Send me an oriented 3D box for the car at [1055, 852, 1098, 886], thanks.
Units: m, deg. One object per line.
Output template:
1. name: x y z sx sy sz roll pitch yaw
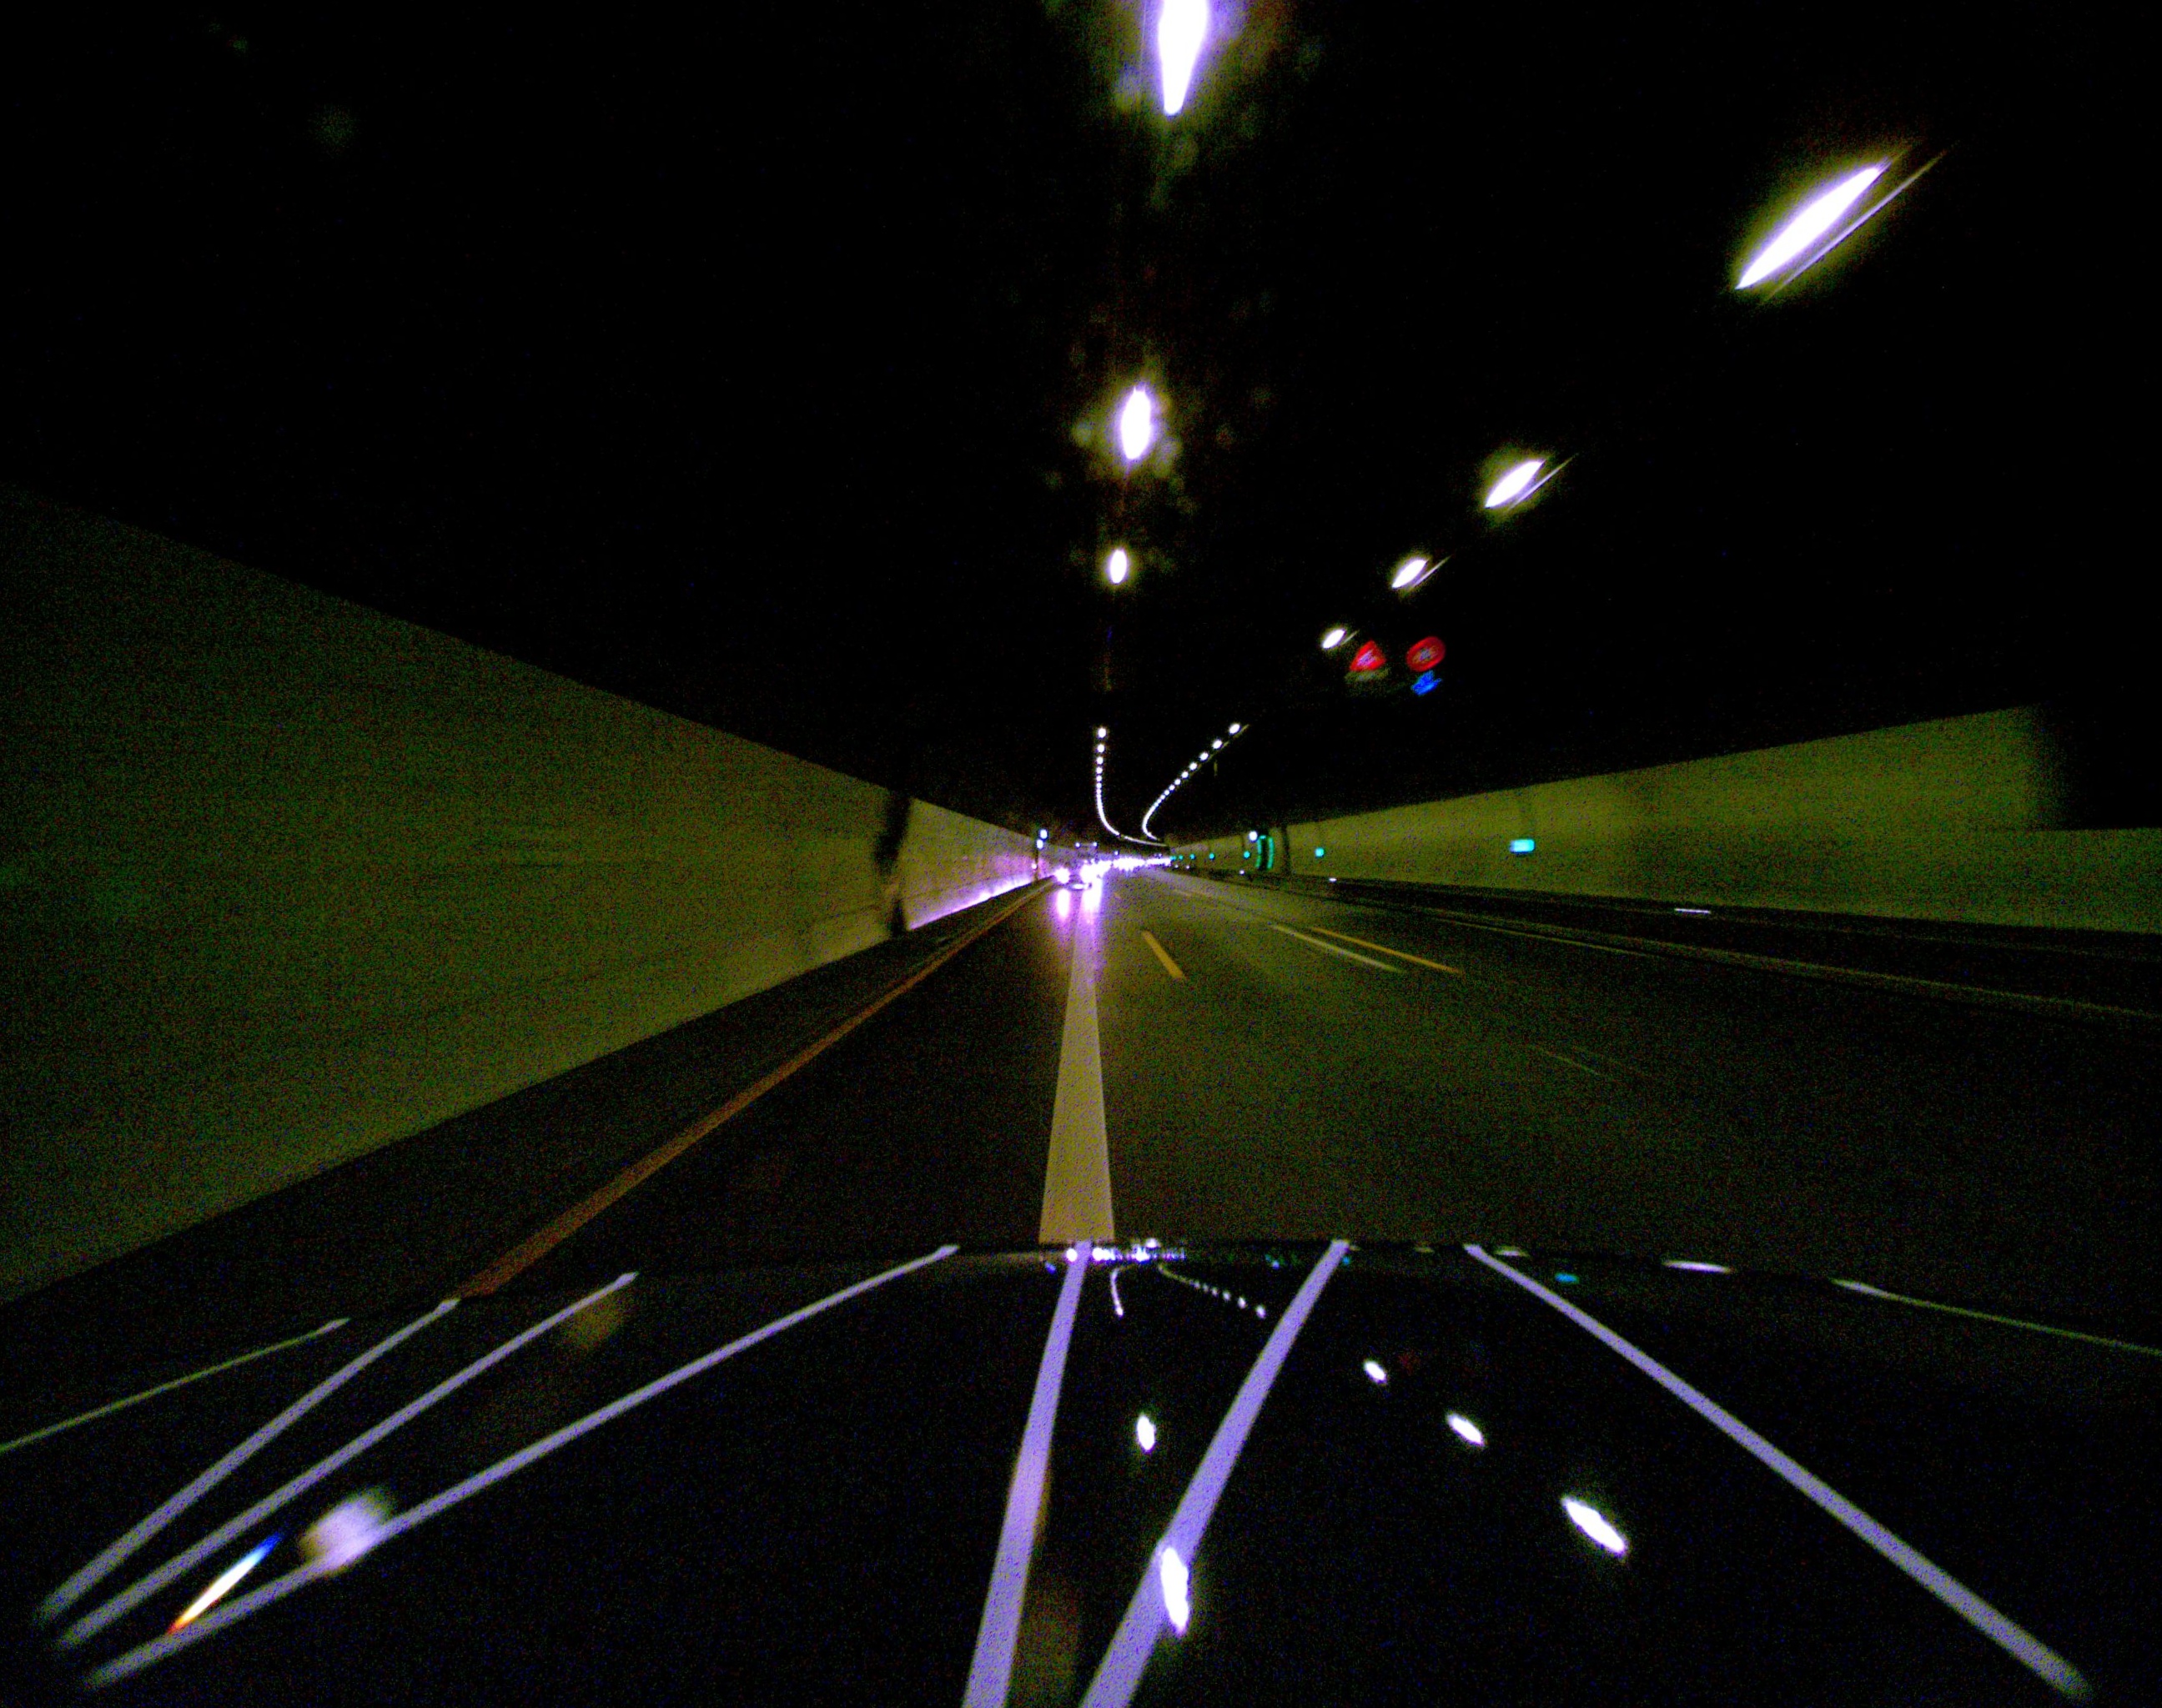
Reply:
1. car: -0.191 0.786 42.353 2.171 1.709 4.482 -2 0 1

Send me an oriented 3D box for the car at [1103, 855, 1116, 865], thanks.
1. car: 5.378 1.107 143.867 1.997 1.892 4.002 -2 0 8

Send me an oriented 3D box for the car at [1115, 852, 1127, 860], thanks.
1. car: 10.067 0.425 189.528 1.996 1.917 4.389 -2 0 14

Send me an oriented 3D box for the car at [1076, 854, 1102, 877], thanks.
1. car: 0.660 0.891 62.040 1.998 1.655 4.000 -3 0 1

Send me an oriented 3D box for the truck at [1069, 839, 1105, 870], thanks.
1. truck: 0.833 0.028 86.569 2.987 3.161 10.513 -2 0 6

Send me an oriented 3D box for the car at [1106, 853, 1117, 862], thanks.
1. car: 6.934 0.794 172.575 1.997 1.892 4.003 -2 0 9
